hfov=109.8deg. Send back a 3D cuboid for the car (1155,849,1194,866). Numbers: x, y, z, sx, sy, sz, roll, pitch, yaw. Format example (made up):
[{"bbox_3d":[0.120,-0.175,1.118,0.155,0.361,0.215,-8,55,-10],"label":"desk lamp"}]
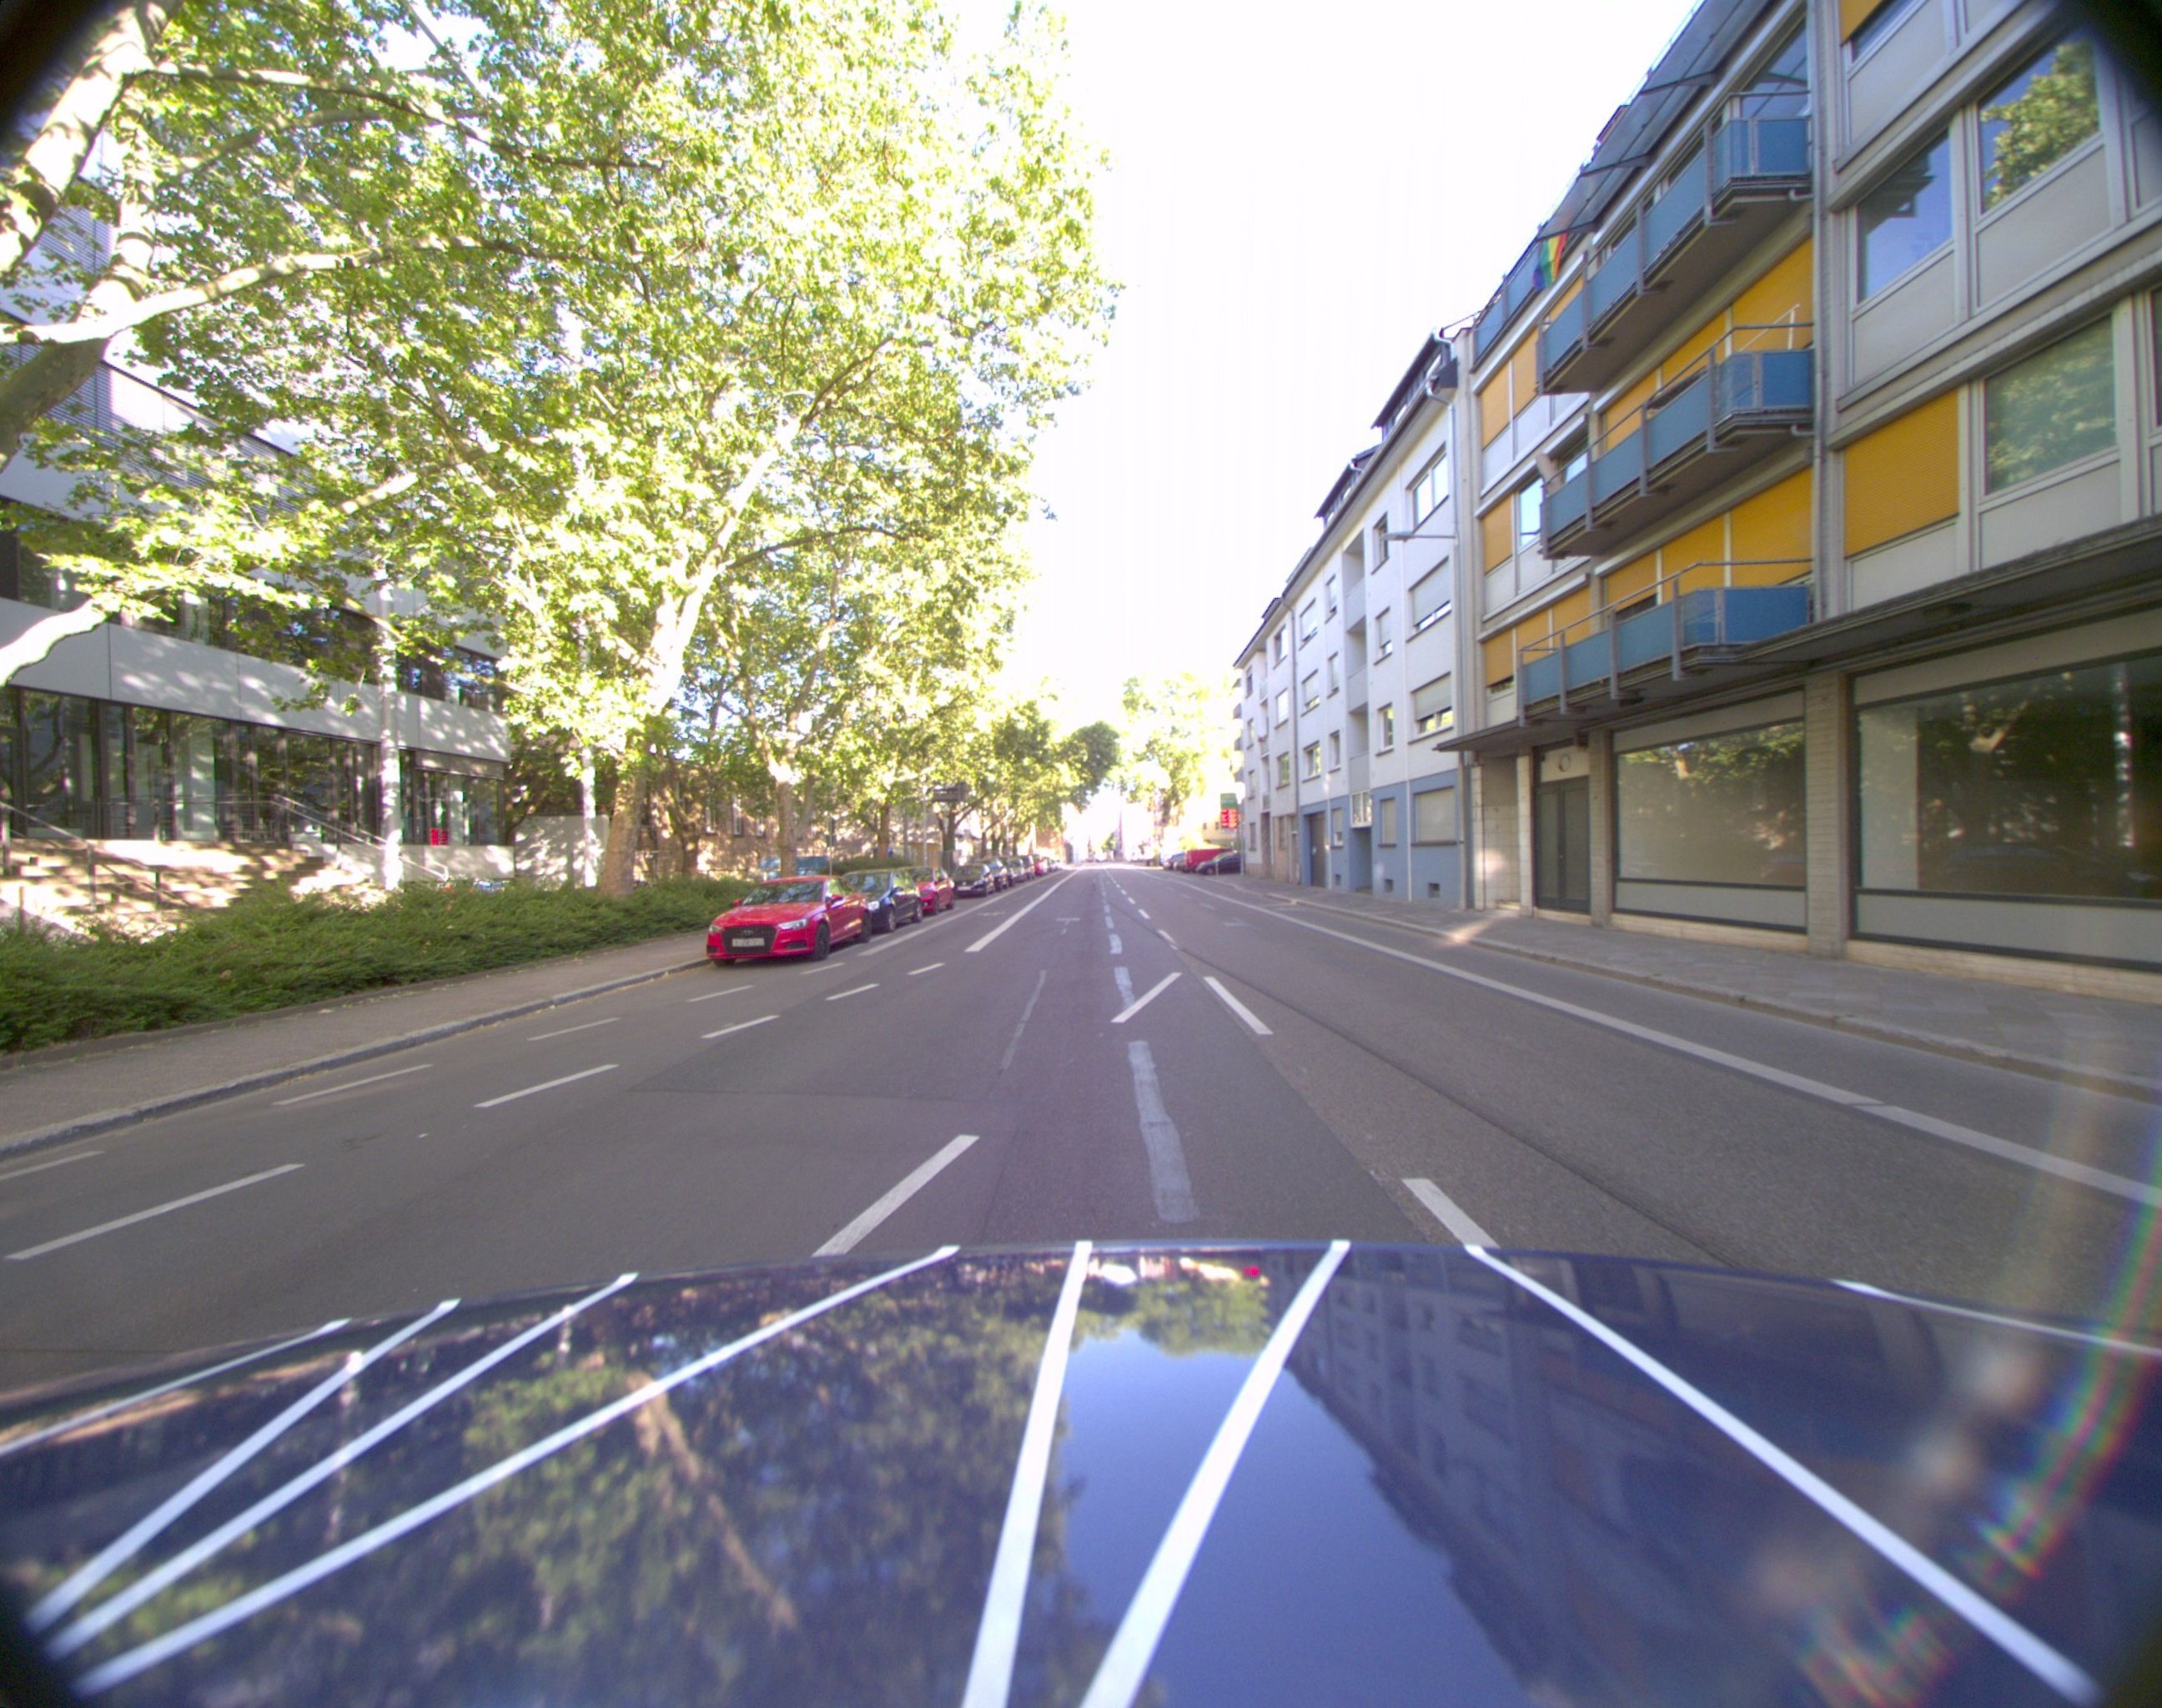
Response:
[{"bbox_3d":[9.617,0.377,78.574,3.703,1.573,1.718,-2,1,-5],"label":"car"}]

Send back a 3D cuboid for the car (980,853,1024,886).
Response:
[{"bbox_3d":[-4.543,0.868,44.199,1.998,1.715,4.262,-2,1,1],"label":"car"}]

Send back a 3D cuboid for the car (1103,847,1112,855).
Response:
[{"bbox_3d":[6.769,-0.794,193.468,1.998,2.002,3.999,-2,1,1],"label":"car"}]

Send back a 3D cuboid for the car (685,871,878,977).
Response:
[{"bbox_3d":[-5.141,1.122,13.730,1.775,1.416,4.173,-3,0,0],"label":"car"}]

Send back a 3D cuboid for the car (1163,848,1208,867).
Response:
[{"bbox_3d":[10.080,0.302,73.367,3.998,1.618,1.702,-2,1,-5],"label":"car"}]

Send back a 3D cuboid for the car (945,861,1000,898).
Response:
[{"bbox_3d":[-4.675,1.083,33.269,1.745,1.430,4.000,-1,0,1],"label":"car"}]

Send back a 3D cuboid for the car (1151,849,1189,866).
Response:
[{"bbox_3d":[9.488,0.373,80.866,3.728,1.579,1.743,-2,1,-5],"label":"car"}]

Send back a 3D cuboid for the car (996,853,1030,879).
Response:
[{"bbox_3d":[-4.439,0.740,50.460,1.798,1.608,4.075,-1,0,1],"label":"car"}]

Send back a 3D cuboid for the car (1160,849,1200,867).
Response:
[{"bbox_3d":[9.882,0.380,75.916,3.658,1.578,1.659,-2,1,-5],"label":"car"}]

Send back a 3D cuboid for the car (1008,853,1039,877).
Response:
[{"bbox_3d":[-4.167,0.751,55.516,1.831,1.608,4.177,-1,0,1],"label":"car"}]

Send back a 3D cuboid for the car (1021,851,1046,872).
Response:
[{"bbox_3d":[-4.106,0.616,66.186,1.876,1.685,4.166,-1,0,1],"label":"car"}]

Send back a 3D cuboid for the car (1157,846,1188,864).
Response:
[{"bbox_3d":[10.230,0.107,85.211,3.267,1.927,1.693,-2,1,2],"label":"car"}]

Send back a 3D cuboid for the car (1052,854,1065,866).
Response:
[{"bbox_3d":[-3.004,0.819,102.876,1.707,1.459,3.809,-1,0,0],"label":"car"}]

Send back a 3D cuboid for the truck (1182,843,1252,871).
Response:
[{"bbox_3d":[10.729,0.237,60.102,5.088,2.009,2.000,-2,1,0],"label":"truck"}]

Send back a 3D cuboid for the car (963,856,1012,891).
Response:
[{"bbox_3d":[-4.621,0.921,38.215,1.848,1.572,4.232,-2,0,1],"label":"car"}]

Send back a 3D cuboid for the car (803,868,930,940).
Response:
[{"bbox_3d":[-5.056,1.121,18.469,1.813,1.449,4.000,-1,0,2],"label":"car"}]

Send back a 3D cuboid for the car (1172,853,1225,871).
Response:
[{"bbox_3d":[9.667,0.648,62.828,4.033,1.265,1.906,-2,1,-1],"label":"car"}]

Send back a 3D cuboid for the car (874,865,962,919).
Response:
[{"bbox_3d":[-4.971,1.104,23.656,1.790,1.429,4.000,-1,0,1],"label":"car"}]

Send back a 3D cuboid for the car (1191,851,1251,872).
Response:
[{"bbox_3d":[10.069,0.534,54.836,3.997,1.385,1.781,-2,1,-1],"label":"car"}]

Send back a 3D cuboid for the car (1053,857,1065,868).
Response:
[{"bbox_3d":[-2.625,1.030,92.251,1.300,1.220,3.241,-1,0,0],"label":"car"}]
